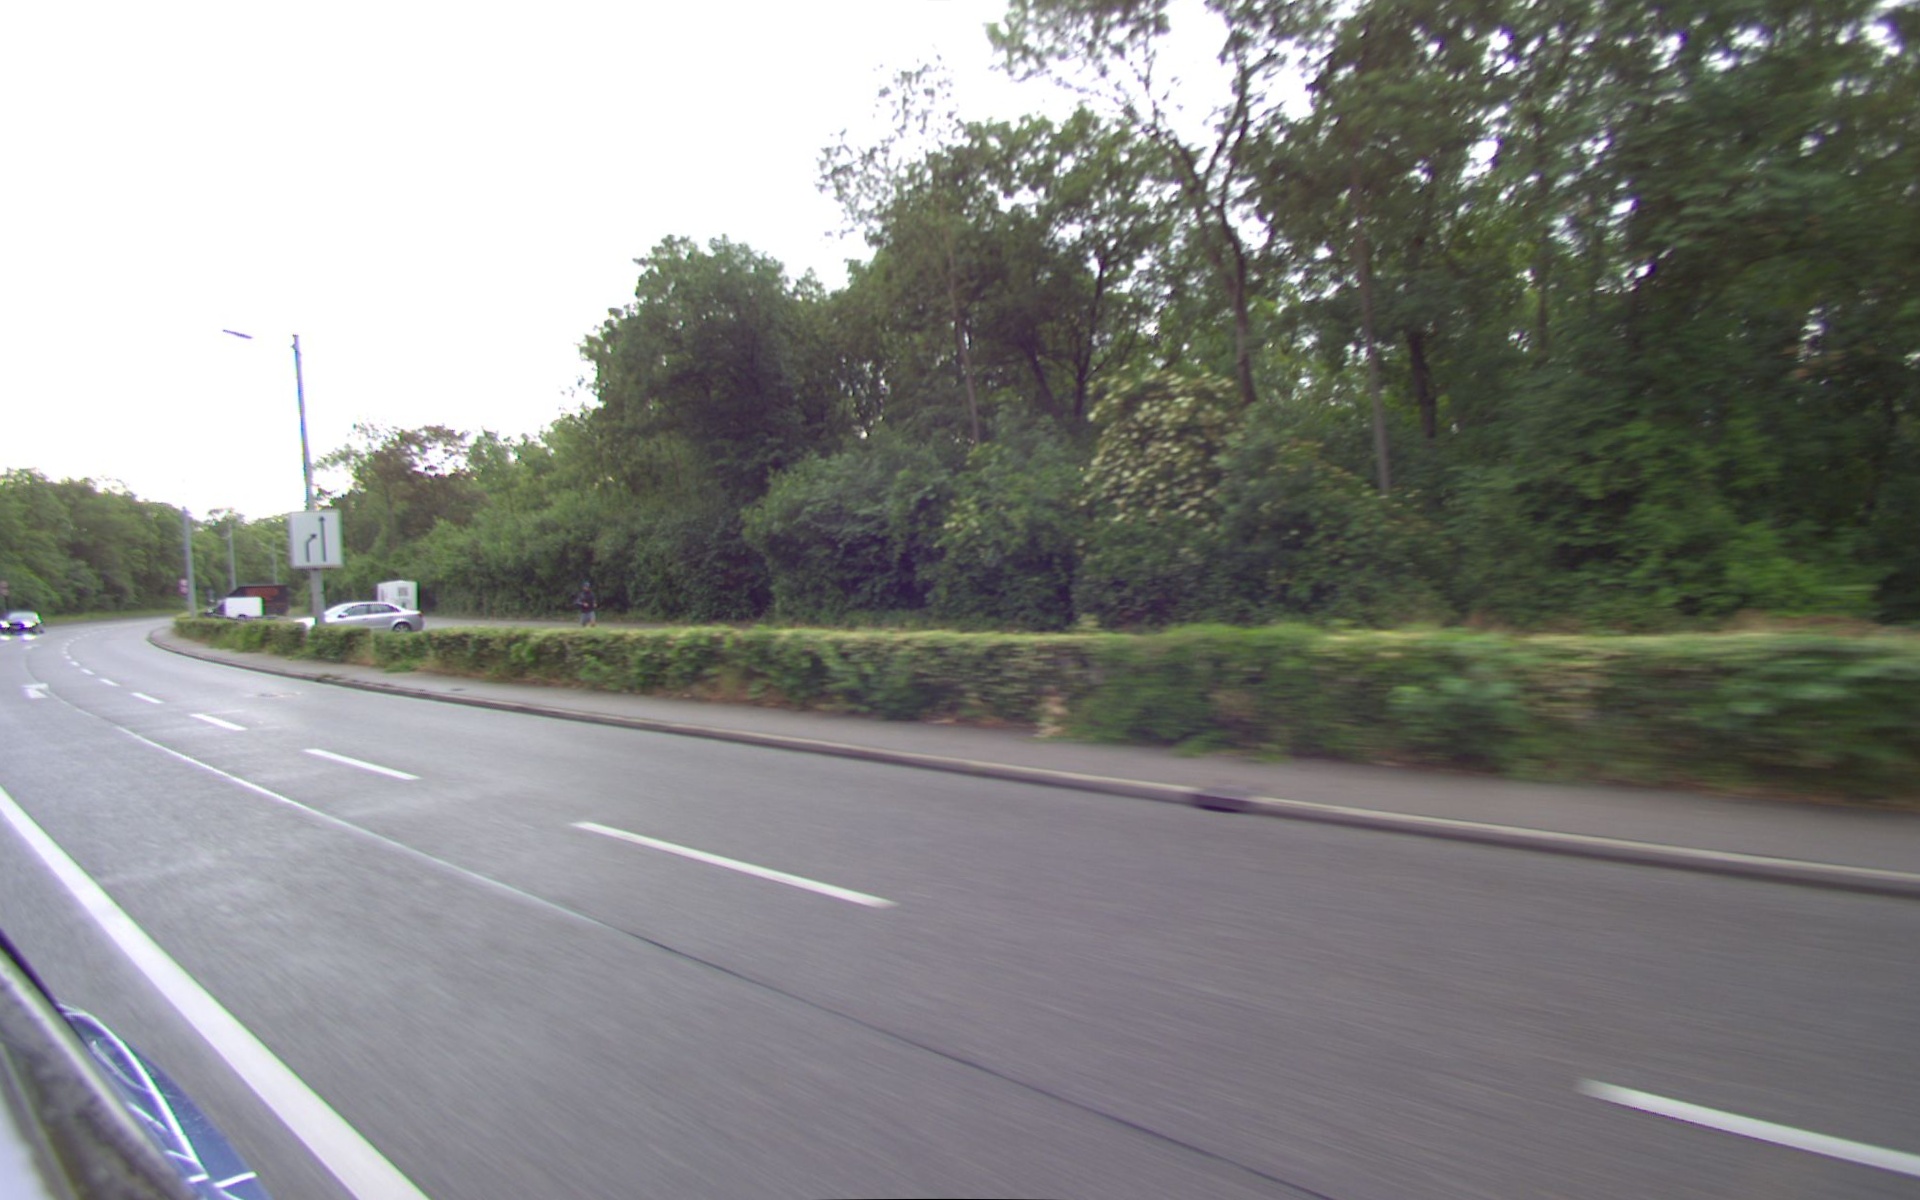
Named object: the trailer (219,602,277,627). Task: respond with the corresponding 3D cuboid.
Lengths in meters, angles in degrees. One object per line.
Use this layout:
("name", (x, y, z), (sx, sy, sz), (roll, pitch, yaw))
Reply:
("trailer", (-60.387, 1.208, 85.916), (3.933, 2.068, 1.878), (-1, 0, -34))

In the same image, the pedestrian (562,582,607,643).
("pedestrian", (-11.549, 0.383, 31.115), (1.134, 1.811, 0.809), (-1, 0, 40))

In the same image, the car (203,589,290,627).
("car", (-63.661, 0.627, 90.289), (6.191, 3.136, 2.758), (-2, 2, -37))

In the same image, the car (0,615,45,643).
("car", (-61.694, 1.850, 66.428), (1.967, 1.696, 4.010), (-1, 1, -36))

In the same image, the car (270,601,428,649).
("car", (-22.158, 0.863, 36.846), (1.999, 1.517, 4.528), (-1, 1, 41))

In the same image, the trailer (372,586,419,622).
("trailer", (-48.809, 0.342, 87.385), (2.444, 2.895, 7.994), (-1, 0, -37))

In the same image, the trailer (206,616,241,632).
("trailer", (-49.604, 1.615, 68.168), (1.779, 1.042, 1.336), (-2, 1, -41))
